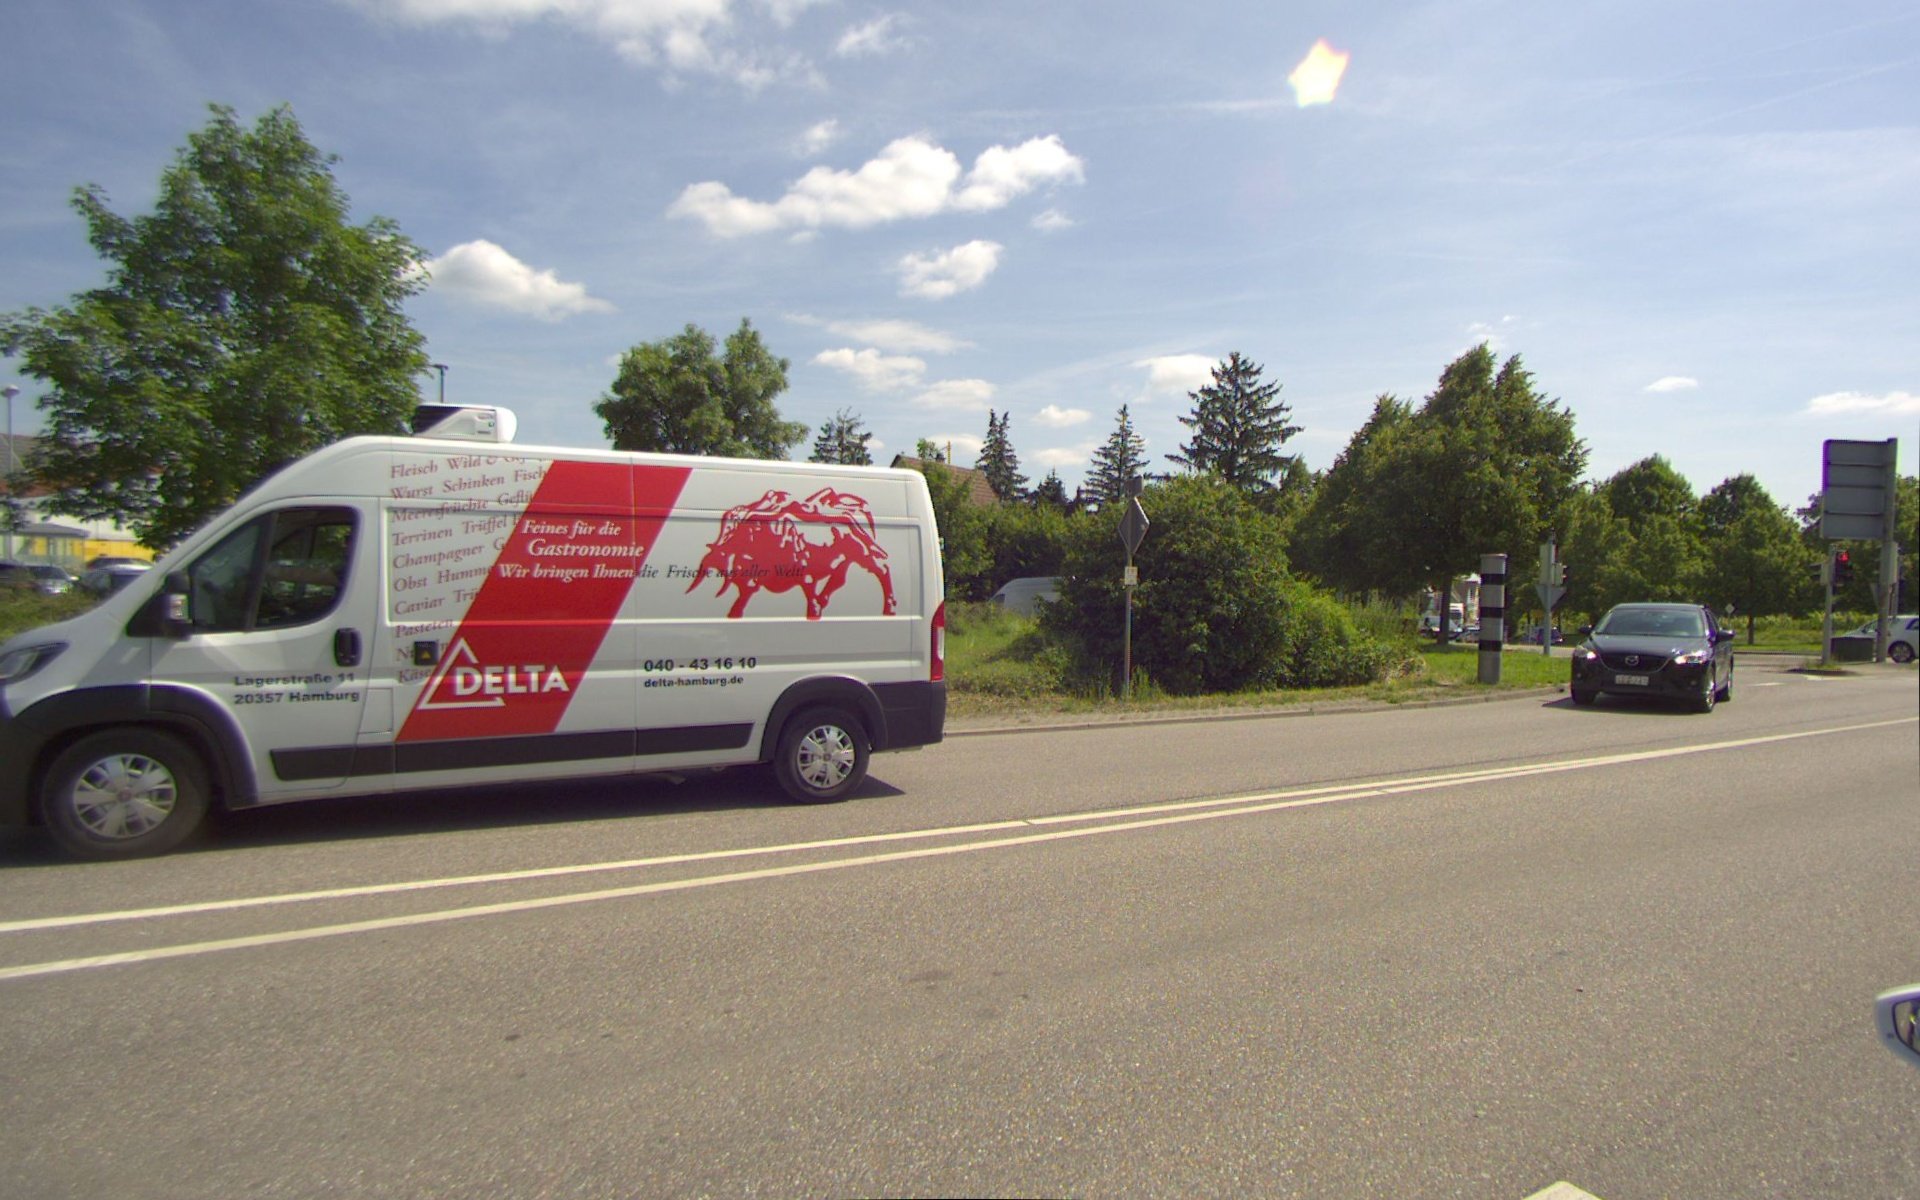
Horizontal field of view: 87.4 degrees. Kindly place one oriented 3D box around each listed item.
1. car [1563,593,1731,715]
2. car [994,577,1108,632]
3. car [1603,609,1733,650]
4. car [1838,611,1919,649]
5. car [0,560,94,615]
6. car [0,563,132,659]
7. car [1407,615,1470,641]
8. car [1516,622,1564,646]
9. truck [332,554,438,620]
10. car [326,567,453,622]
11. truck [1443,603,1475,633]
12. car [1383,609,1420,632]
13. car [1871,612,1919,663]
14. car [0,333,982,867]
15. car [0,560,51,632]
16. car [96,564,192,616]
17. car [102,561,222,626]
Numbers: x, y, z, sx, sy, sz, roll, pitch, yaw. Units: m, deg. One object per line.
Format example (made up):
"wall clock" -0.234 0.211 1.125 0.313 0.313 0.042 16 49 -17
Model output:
"car" 11.532 0.792 16.746 1.845 1.773 4.089 1 0 41
"car" 3.913 0.155 43.666 4.524 2.209 1.992 2 1 37
"car" 27.376 1.109 38.999 1.763 1.436 4.040 0 1 -10
"car" 37.329 1.193 39.678 1.645 1.375 3.856 1 1 -7
"car" -28.200 -0.402 30.751 3.936 1.549 1.772 2 0 37
"car" -17.531 0.177 19.466 3.941 1.679 1.686 2 0 42
"car" 27.280 1.594 57.431 1.707 1.322 4.282 1 0 3
"car" 38.825 2.279 67.351 1.836 1.568 4.115 -1 -2 16
"truck" -22.313 -0.513 38.927 3.932 2.397 1.994 2 0 34
"car" -19.290 -0.196 33.897 4.353 1.717 1.994 1 0 34
"truck" 66.217 2.388 133.197 2.896 3.848 7.906 2 0 33
"car" 29.976 1.382 68.363 1.707 1.448 4.282 1 0 16
"car" 29.171 1.125 28.822 1.778 1.480 4.251 0 1 -11
"car" -2.931 0.021 7.284 5.911 2.690 2.109 1 0 -28
"car" -24.778 -0.156 25.569 3.939 1.697 1.903 3 1 40
"car" -26.484 -0.330 32.565 3.941 1.549 1.770 2 0 41
"car" -22.821 -0.190 28.688 3.939 1.711 1.918 2 0 40
